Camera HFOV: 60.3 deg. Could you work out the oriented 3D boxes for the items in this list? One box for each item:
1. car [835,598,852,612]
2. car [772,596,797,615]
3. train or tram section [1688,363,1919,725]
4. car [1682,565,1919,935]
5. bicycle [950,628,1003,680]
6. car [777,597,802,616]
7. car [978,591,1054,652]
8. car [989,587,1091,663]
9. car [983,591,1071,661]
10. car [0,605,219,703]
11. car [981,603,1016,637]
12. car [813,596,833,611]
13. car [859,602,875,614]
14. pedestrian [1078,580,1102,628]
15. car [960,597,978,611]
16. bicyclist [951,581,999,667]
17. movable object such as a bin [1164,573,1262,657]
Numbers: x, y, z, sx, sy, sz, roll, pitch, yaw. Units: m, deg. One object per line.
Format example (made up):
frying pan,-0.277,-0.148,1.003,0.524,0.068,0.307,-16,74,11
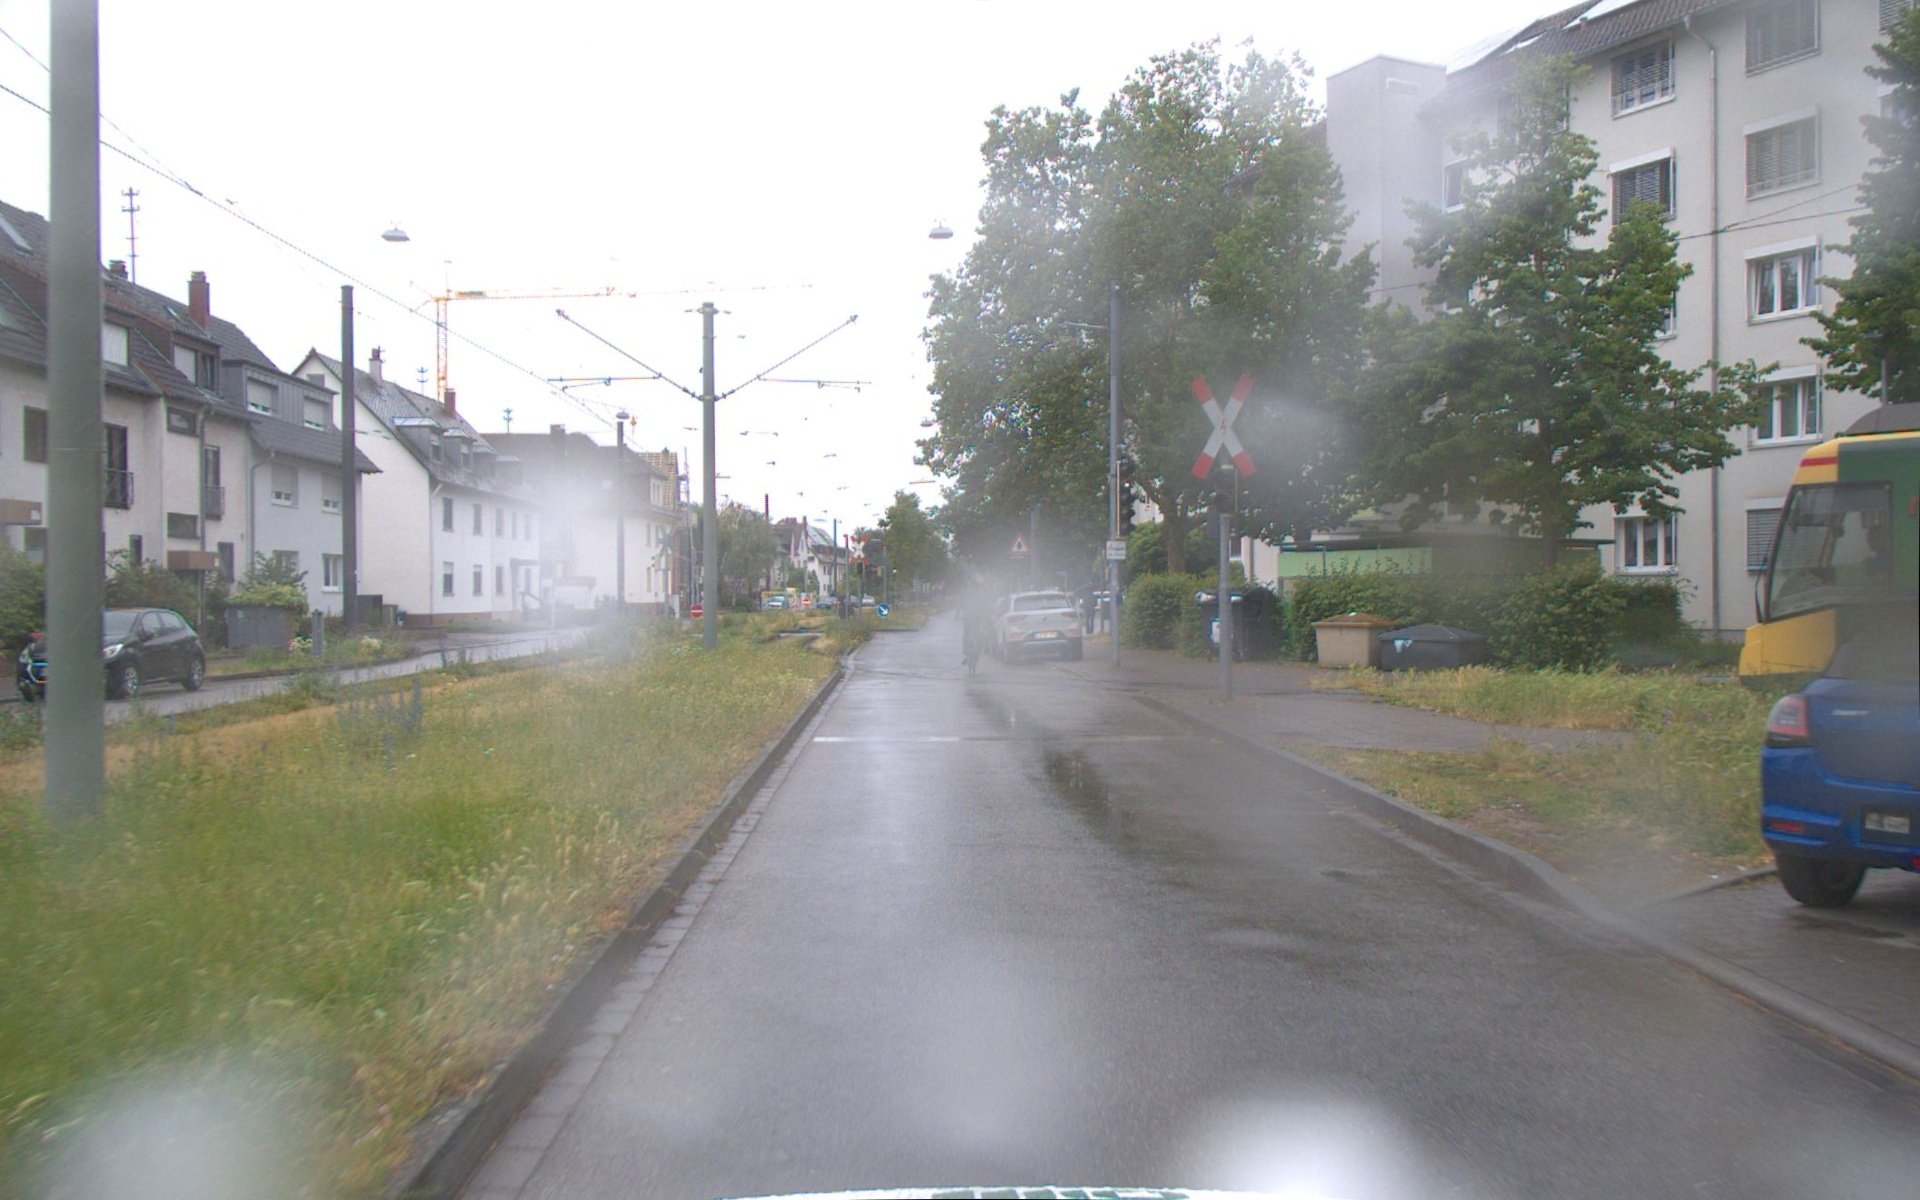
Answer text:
car,-14.800,0.629,210.265,1.953,1.571,3.999,-1,-2,-1
car,-16.247,0.506,153.465,1.953,1.571,3.999,-1,-2,-1
train or tram section,14.050,-0.577,14.057,2.694,3.653,14.495,2,-1,-44
car,5.545,0.588,8.008,3.952,1.509,1.977,-1,2,-34
bicycle,0.291,1.008,31.269,0.805,0.928,1.983,-1,-1,-5
car,-16.394,0.658,159.147,1.953,1.735,3.999,-1,-2,-1
car,1.632,0.646,49.813,1.903,1.680,3.997,-2,-1,-3
car,1.788,0.562,38.146,1.916,1.580,3.997,-2,-1,-3
car,1.703,0.680,43.435,1.903,1.680,3.997,-2,-1,-3
car,-14.384,0.919,28.093,1.839,1.530,4.131,0,-2,-2
car,2.442,1.268,106.213,1.903,2.049,3.997,-2,-1,-3
car,-15.269,0.403,184.480,1.953,1.571,3.999,-1,-2,-1
car,-13.059,1.085,232.341,1.953,1.571,3.999,-1,-2,-1
pedestrian,4.807,0.162,61.089,0.732,1.746,0.750,-2,-1,-2
car,1.066,0.449,195.052,1.953,1.518,3.998,-1,-2,-2
bicyclist,0.277,0.448,31.318,0.815,1.585,0.913,-1,-1,-5
movable object such as a bin,5.462,0.313,35.757,1.530,1.734,1.488,-1,0,-26
